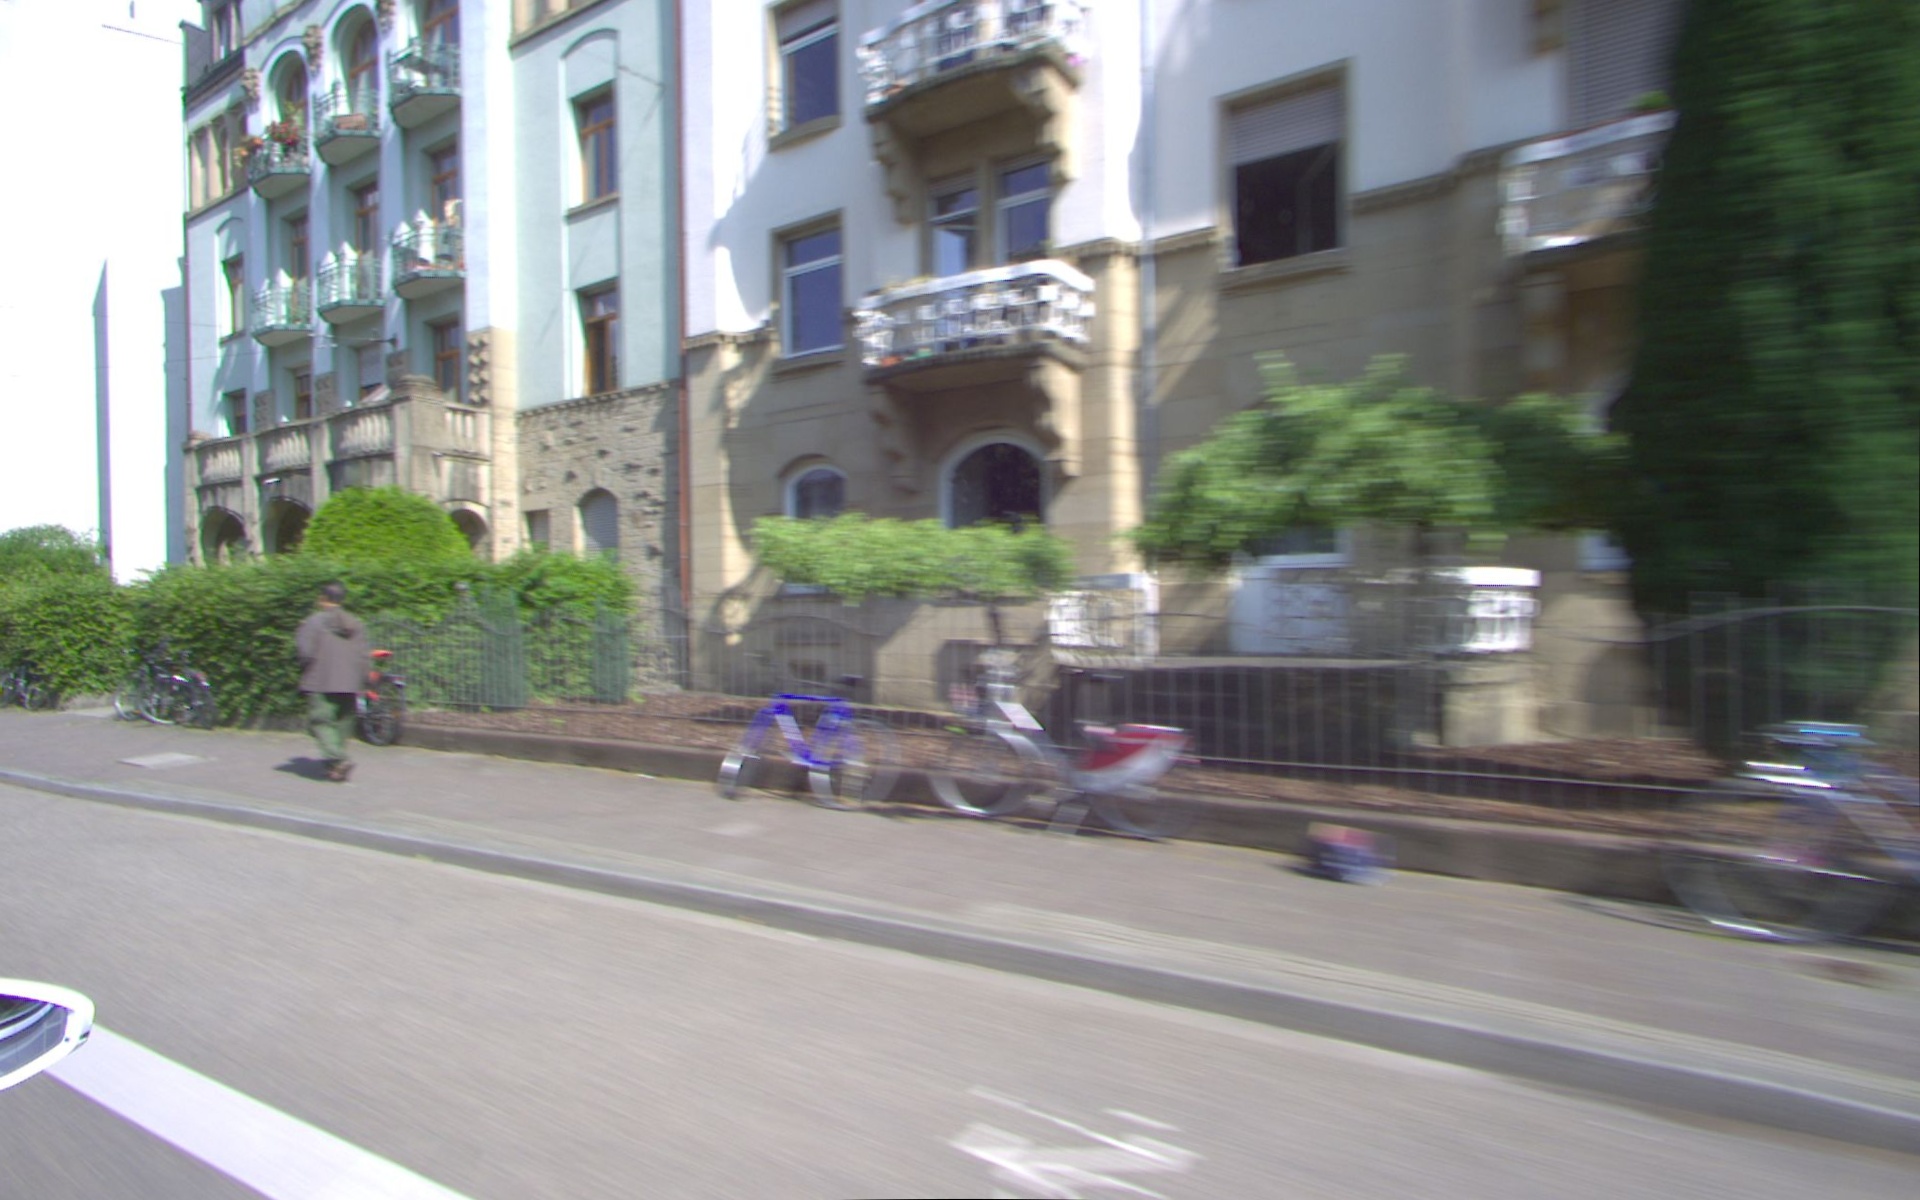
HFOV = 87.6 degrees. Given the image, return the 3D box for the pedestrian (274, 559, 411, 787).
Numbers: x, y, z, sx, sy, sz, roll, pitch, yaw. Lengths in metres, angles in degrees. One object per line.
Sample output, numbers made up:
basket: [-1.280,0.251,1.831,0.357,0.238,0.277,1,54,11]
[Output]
pedestrian: [-5.376,0.601,8.749,0.571,1.886,0.787,-1,1,26]

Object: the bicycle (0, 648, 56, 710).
bicycle: [-15.387,1.287,16.488,1.644,0.920,0.273,1,4,33]

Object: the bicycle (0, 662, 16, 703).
bicycle: [-17.140,1.449,17.687,1.537,0.686,0.278,-2,2,33]

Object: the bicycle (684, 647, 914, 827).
bicycle: [-1.210,0.941,7.328,1.818,1.138,0.449,0,2,34]

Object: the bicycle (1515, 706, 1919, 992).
bicycle: [3.969,1.014,4.037,3.020,0.974,0.598,-1,3,30]

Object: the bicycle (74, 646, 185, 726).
bicycle: [-11.500,1.163,13.853,1.846,1.002,0.611,-1,1,32]

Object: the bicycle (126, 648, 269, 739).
bicycle: [-9.553,1.129,12.507,2.329,1.009,0.609,-2,2,32]

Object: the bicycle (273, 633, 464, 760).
bicycle: [-6.499,1.000,10.940,2.480,1.247,0.739,-1,-1,32]

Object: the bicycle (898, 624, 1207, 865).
bicycle: [0.522,0.797,6.038,1.816,1.278,0.450,0,2,30]
